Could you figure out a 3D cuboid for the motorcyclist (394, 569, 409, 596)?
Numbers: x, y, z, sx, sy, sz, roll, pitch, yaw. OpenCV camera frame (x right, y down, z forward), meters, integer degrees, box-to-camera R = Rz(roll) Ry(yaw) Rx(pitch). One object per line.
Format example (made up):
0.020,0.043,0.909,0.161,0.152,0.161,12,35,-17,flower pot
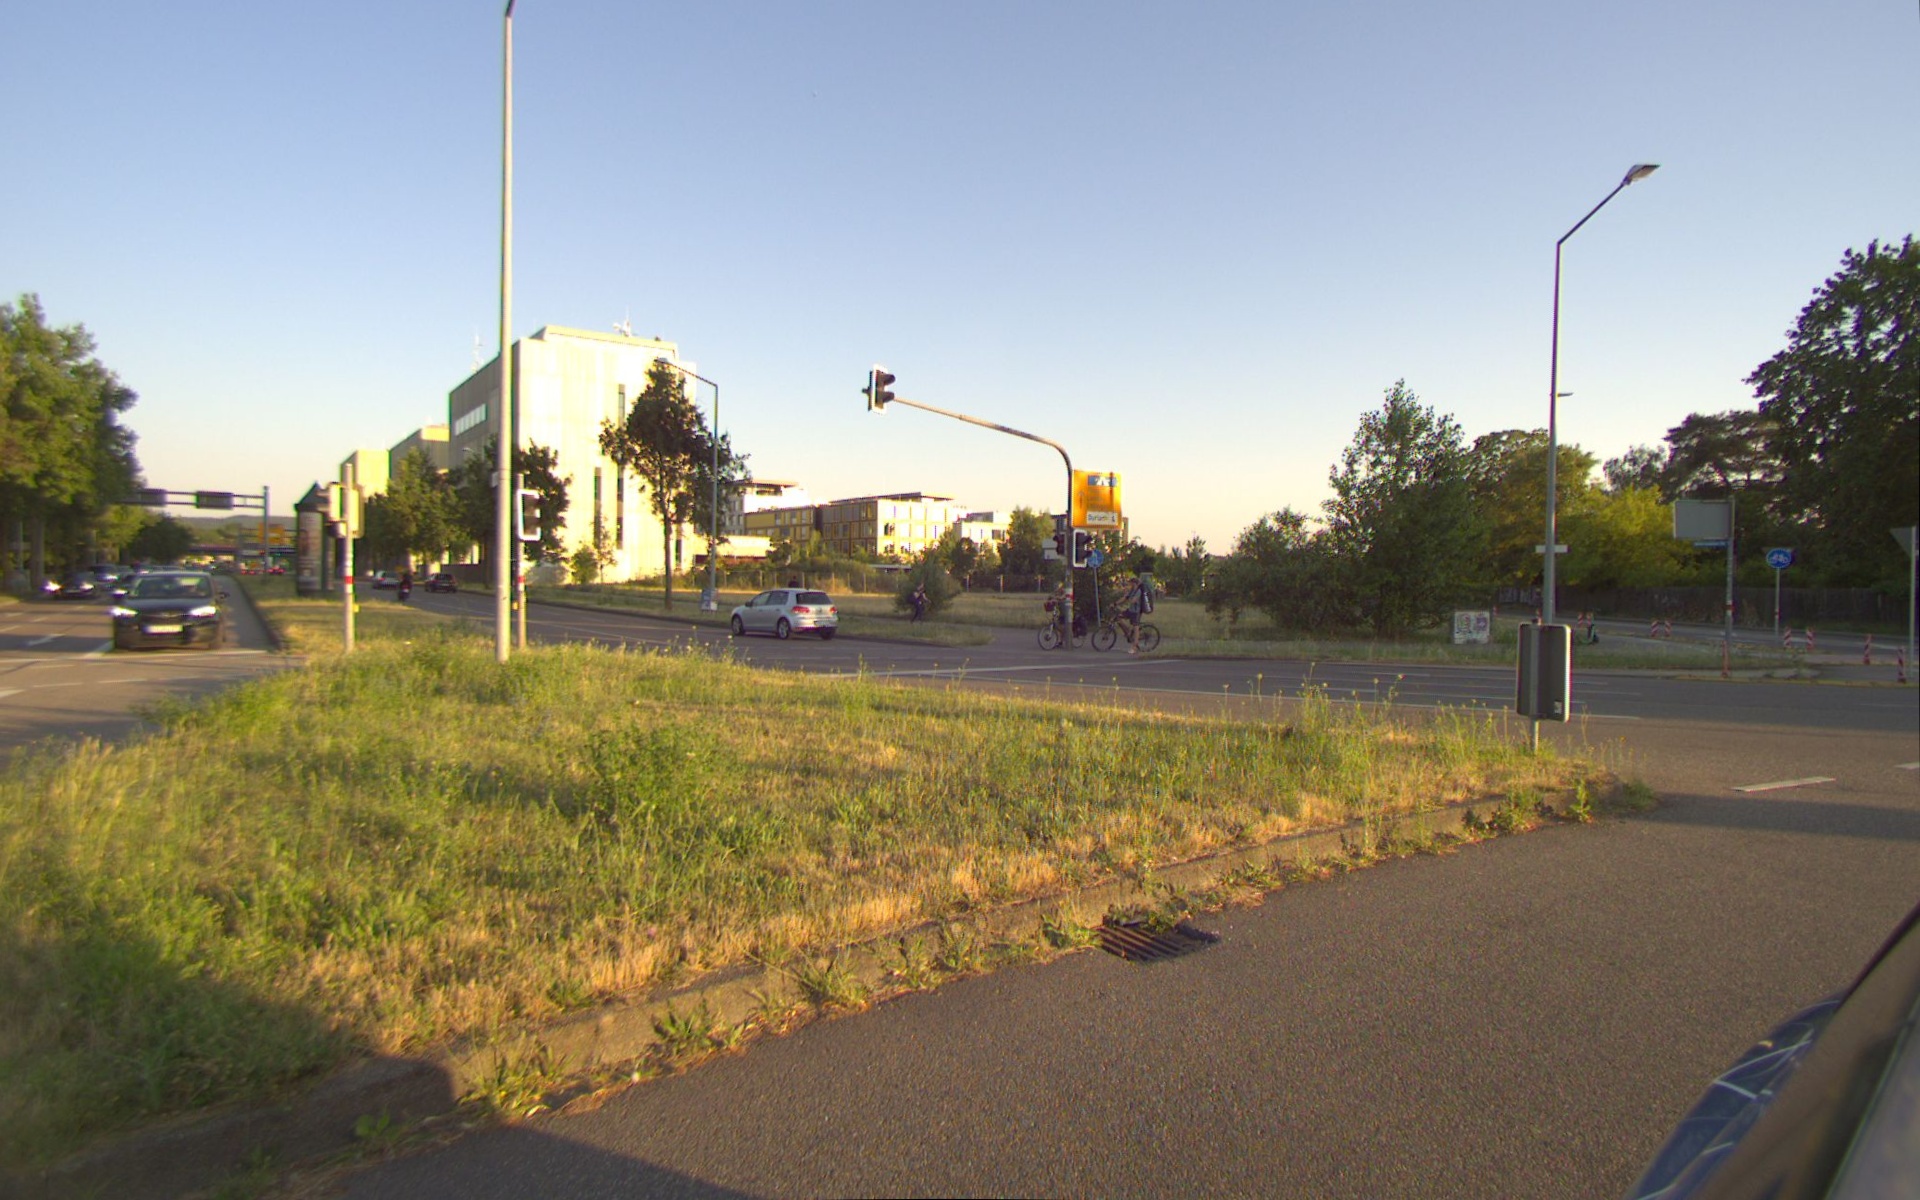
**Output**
-30.022,-0.931,54.419,0.624,1.434,0.714,0,1,-37,motorcyclist

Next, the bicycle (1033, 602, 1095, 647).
2.815,0.638,27.196,1.894,1.098,0.456,-3,3,-40,bicycle

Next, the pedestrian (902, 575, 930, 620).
-1.560,-0.085,36.049,0.782,1.569,0.567,0,1,-37,pedestrian

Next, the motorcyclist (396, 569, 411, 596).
-29.629,-0.914,53.891,0.624,1.426,0.594,0,1,-37,motorcyclist

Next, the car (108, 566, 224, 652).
-16.589,0.123,21.295,1.690,1.633,4.136,-1,1,-35,car

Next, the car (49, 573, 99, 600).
-45.551,-0.734,52.093,1.589,1.325,3.716,-1,2,-36,car

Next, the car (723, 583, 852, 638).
-5.244,0.265,30.477,4.040,1.499,1.862,2,1,45,car

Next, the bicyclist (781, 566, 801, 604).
-7.937,-0.689,47.521,0.527,1.765,0.843,1,1,-38,bicyclist

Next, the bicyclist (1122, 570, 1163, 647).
4.722,0.203,26.180,0.894,1.921,0.640,-2,2,-40,bicyclist

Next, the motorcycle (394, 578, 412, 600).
-29.828,-0.599,54.177,0.548,1.114,2.159,0,1,-37,motorcycle

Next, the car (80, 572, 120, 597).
-54.466,-1.016,64.137,1.589,1.537,3.716,-1,2,-36,car

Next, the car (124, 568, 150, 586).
-74.770,-2.092,91.981,1.589,1.537,3.716,-1,2,-36,car

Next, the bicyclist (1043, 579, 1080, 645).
2.715,0.306,27.121,0.757,1.722,0.640,-3,3,-40,bicyclist

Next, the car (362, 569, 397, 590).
-44.597,-1.590,77.685,1.770,1.440,4.447,1,1,-37,car

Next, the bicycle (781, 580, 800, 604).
-7.961,-0.399,47.495,0.275,1.102,1.372,1,1,-37,bicycle

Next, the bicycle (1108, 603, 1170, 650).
4.652,0.667,26.236,1.894,1.098,0.456,-2,2,-40,bicycle

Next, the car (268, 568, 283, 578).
-114.557,-4.550,169.313,1.785,1.544,4.133,1,1,-37,car

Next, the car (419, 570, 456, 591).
-38.742,-1.477,75.001,1.770,1.482,3.998,1,1,-37,car

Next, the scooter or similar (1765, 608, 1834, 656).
21.218,0.803,25.583,1.356,1.177,0.442,1,1,-2,scooter or similar

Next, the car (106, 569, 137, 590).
-64.576,-1.591,77.961,1.589,1.537,3.716,-1,2,-36,car

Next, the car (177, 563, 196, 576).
-87.489,-3.466,114.552,1.589,1.471,3.716,-1,2,-36,car

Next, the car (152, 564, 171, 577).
-96.400,-3.539,122.234,1.589,1.471,3.716,-1,2,-36,car
